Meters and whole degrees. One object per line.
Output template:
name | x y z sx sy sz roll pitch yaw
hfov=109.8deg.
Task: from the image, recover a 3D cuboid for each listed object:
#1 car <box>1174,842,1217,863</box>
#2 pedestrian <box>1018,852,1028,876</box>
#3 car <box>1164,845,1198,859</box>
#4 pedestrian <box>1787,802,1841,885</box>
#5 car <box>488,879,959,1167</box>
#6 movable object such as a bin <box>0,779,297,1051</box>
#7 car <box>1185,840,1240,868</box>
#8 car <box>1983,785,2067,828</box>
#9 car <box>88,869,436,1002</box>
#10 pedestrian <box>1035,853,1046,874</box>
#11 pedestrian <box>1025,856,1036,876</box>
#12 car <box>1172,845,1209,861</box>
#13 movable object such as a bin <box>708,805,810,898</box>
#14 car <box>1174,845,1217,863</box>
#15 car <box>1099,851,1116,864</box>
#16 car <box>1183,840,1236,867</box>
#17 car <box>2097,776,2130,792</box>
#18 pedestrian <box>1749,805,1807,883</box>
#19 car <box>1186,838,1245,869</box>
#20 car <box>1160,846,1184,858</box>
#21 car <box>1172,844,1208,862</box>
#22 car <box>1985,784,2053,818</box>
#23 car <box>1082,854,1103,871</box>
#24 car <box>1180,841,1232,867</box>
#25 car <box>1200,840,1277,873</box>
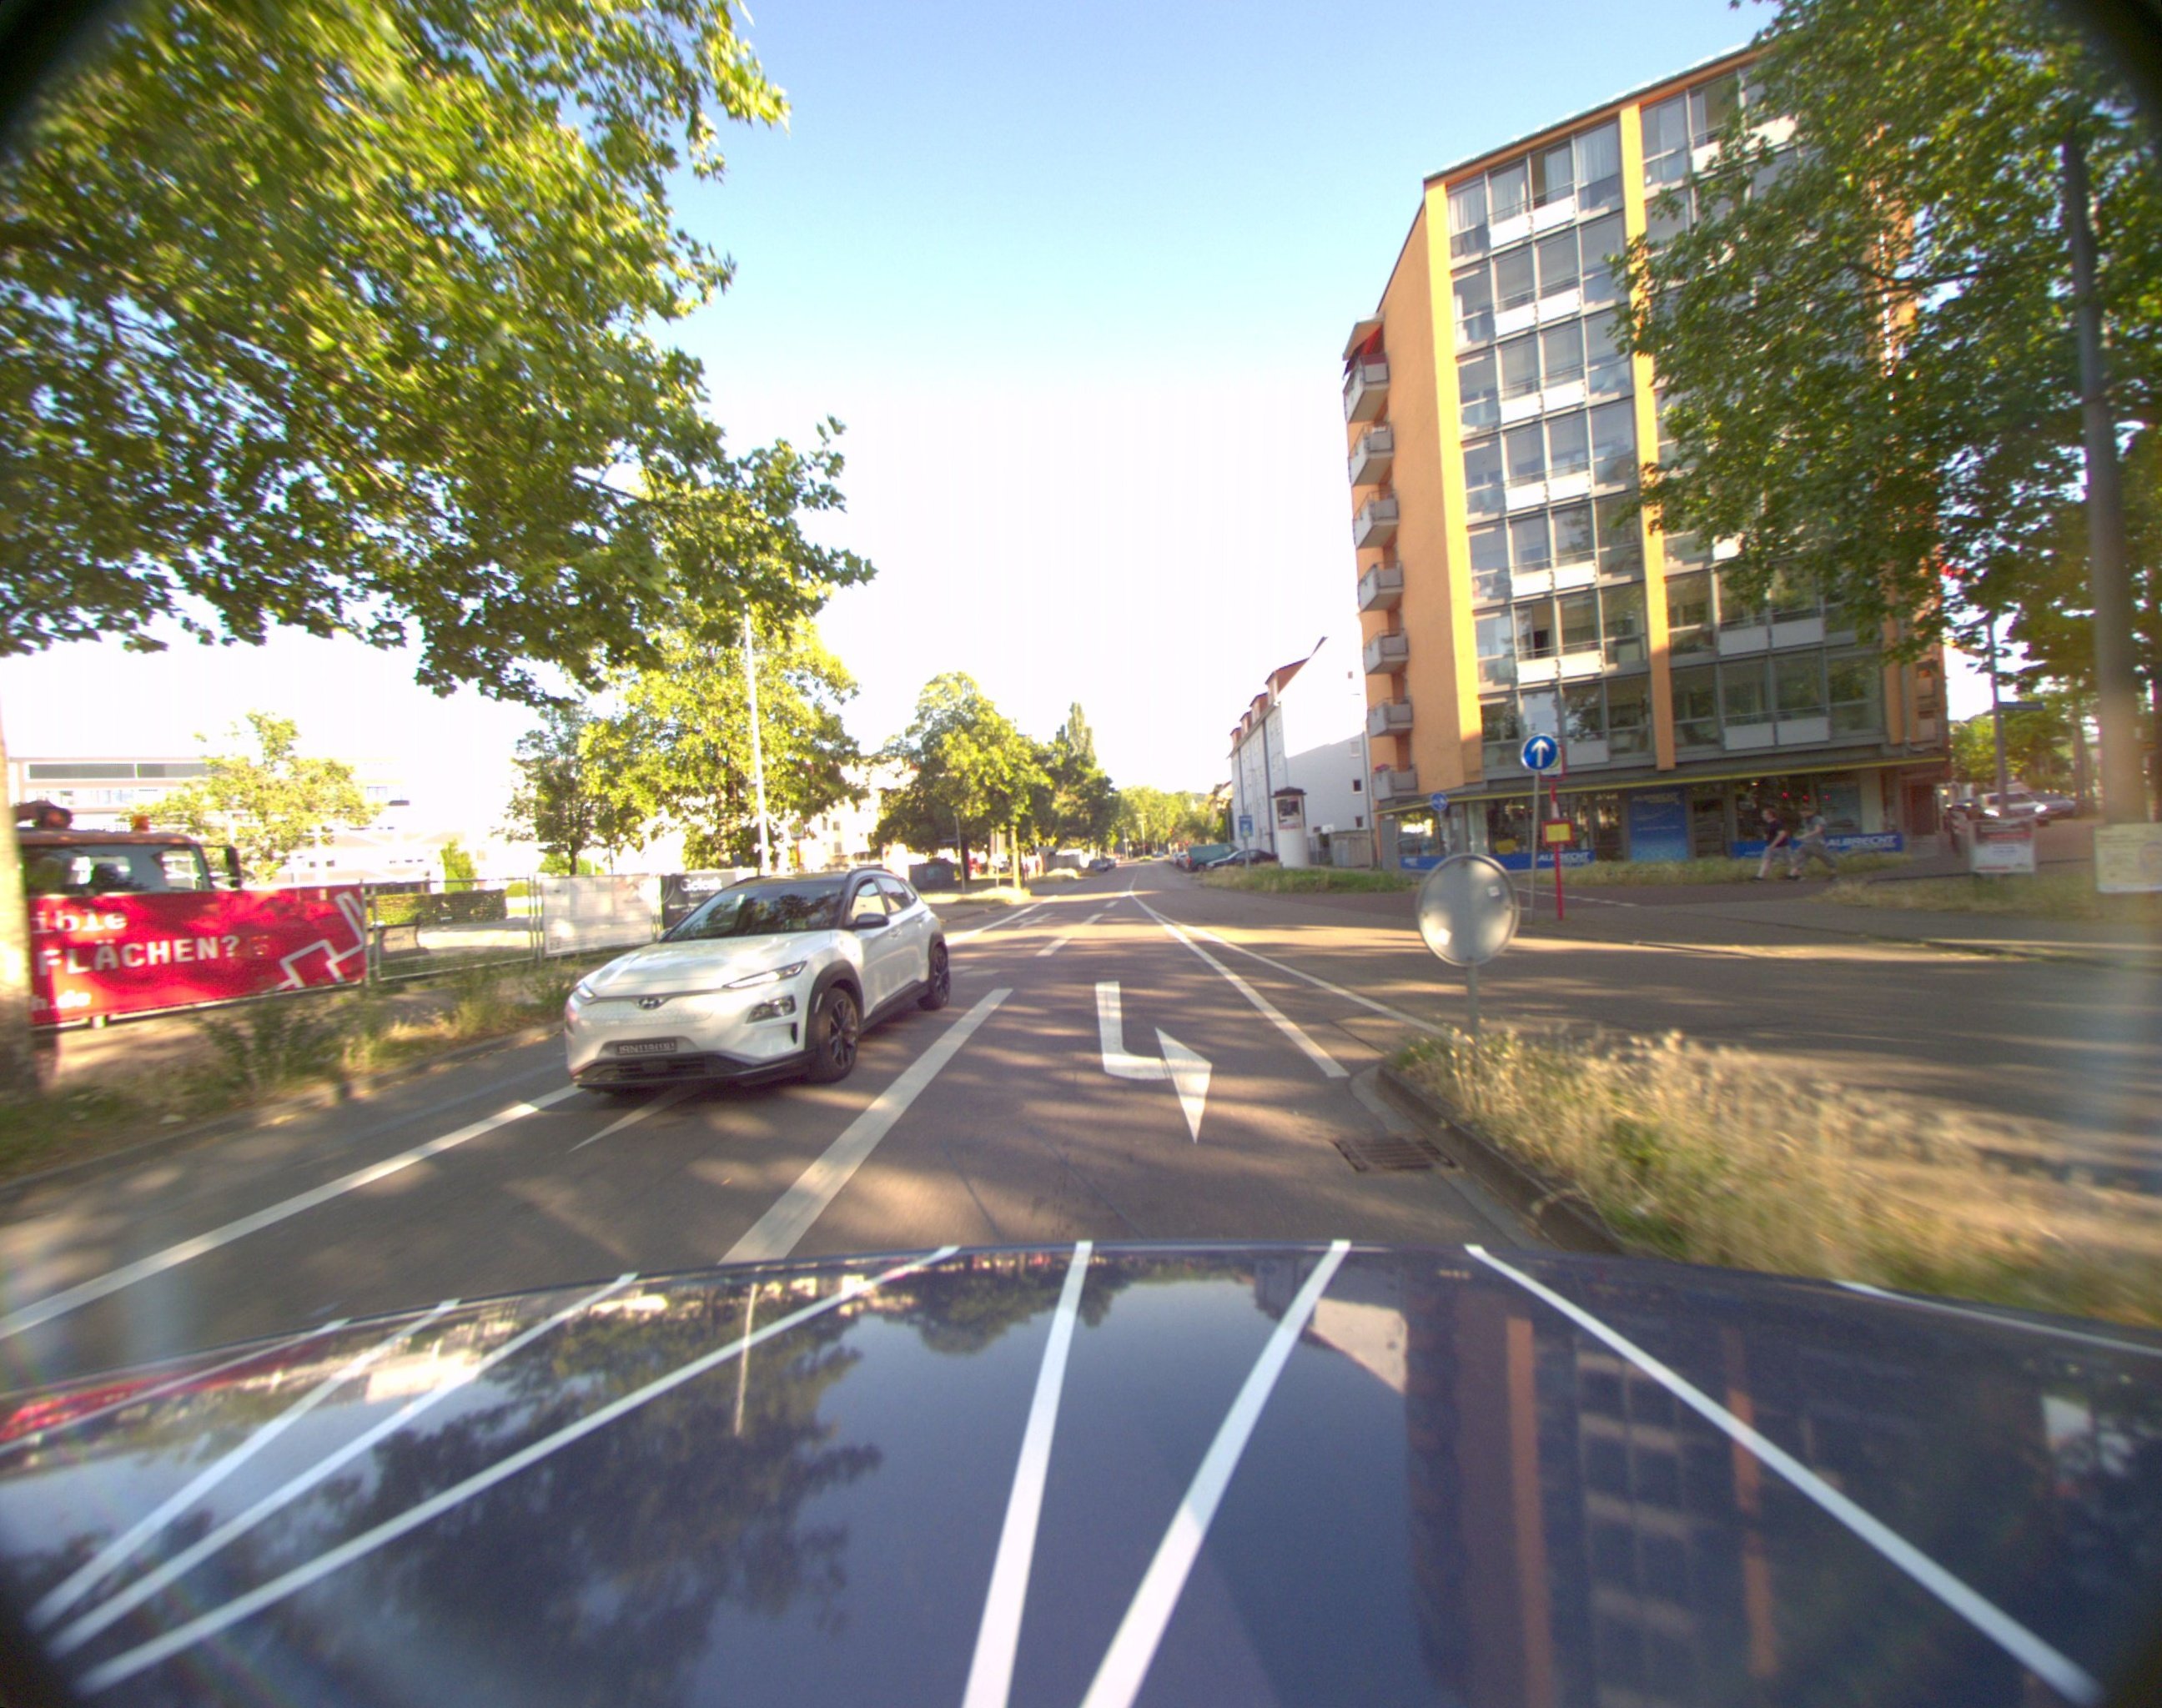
car | 11.459 -0.157 76.102 4.117 1.762 1.757 -4 1 7
pedestrian | -4.411 0.774 57.362 0.609 1.727 0.638 -5 1 -3
car | 13.099 -0.271 99.768 4.257 1.564 1.867 -4 1 7
pedestrian | 15.996 -0.230 16.582 0.691 1.740 0.629 -5 2 -33
car | -2.515 1.105 6.599 1.894 1.587 3.968 -5 -2 4
movable object such as a bin | -14.976 0.873 10.126 6.280 3.032 3.219 -4 1 12
car | 10.014 -0.018 58.180 3.995 1.805 2.001 -4 1 7
car | 40.408 -2.036 32.612 4.053 1.567 2.045 -5 1 -41
car | -13.958 1.363 13.038 4.597 1.818 2.044 -4 1 15
pedestrian | -3.446 0.787 64.012 0.695 1.659 0.639 -4 1 6
pedestrian | -3.754 0.868 56.684 0.609 1.426 0.639 -4 1 3
car | 12.888 -0.115 89.510 4.257 1.564 1.867 -4 1 7
movable object such as a bin | -20.867 -0.102 49.105 3.985 5.447 6.017 -5 1 -41
car | 11.843 -0.017 78.979 4.257 1.564 1.867 -4 1 7
car | 3.404 0.421 97.844 1.998 1.521 4.000 -4 1 2
car | 10.244 -0.074 60.985 3.995 1.805 2.001 -4 1 7
car | 124.485 -8.414 91.658 4.376 1.696 1.934 -5 1 -41
pedestrian | 16.128 -0.213 17.583 0.540 1.740 0.811 -5 2 -33
car | 9.781 -0.030 55.592 3.995 1.936 2.000 -4 1 6
car | 13.783 -0.295 114.808 3.538 1.564 1.867 -4 1 7
car | 12.843 -0.144 89.647 4.071 1.742 1.899 -4 1 7
car | 49.982 -2.847 40.557 4.053 1.567 2.045 -5 1 -41
car | 1.223 0.842 79.519 1.998 1.521 4.000 -4 1 2
car | 10.386 -0.008 63.333 4.058 1.805 1.937 -4 1 7
car | 9.625 0.148 46.528 4.423 1.652 2.001 -4 1 11
